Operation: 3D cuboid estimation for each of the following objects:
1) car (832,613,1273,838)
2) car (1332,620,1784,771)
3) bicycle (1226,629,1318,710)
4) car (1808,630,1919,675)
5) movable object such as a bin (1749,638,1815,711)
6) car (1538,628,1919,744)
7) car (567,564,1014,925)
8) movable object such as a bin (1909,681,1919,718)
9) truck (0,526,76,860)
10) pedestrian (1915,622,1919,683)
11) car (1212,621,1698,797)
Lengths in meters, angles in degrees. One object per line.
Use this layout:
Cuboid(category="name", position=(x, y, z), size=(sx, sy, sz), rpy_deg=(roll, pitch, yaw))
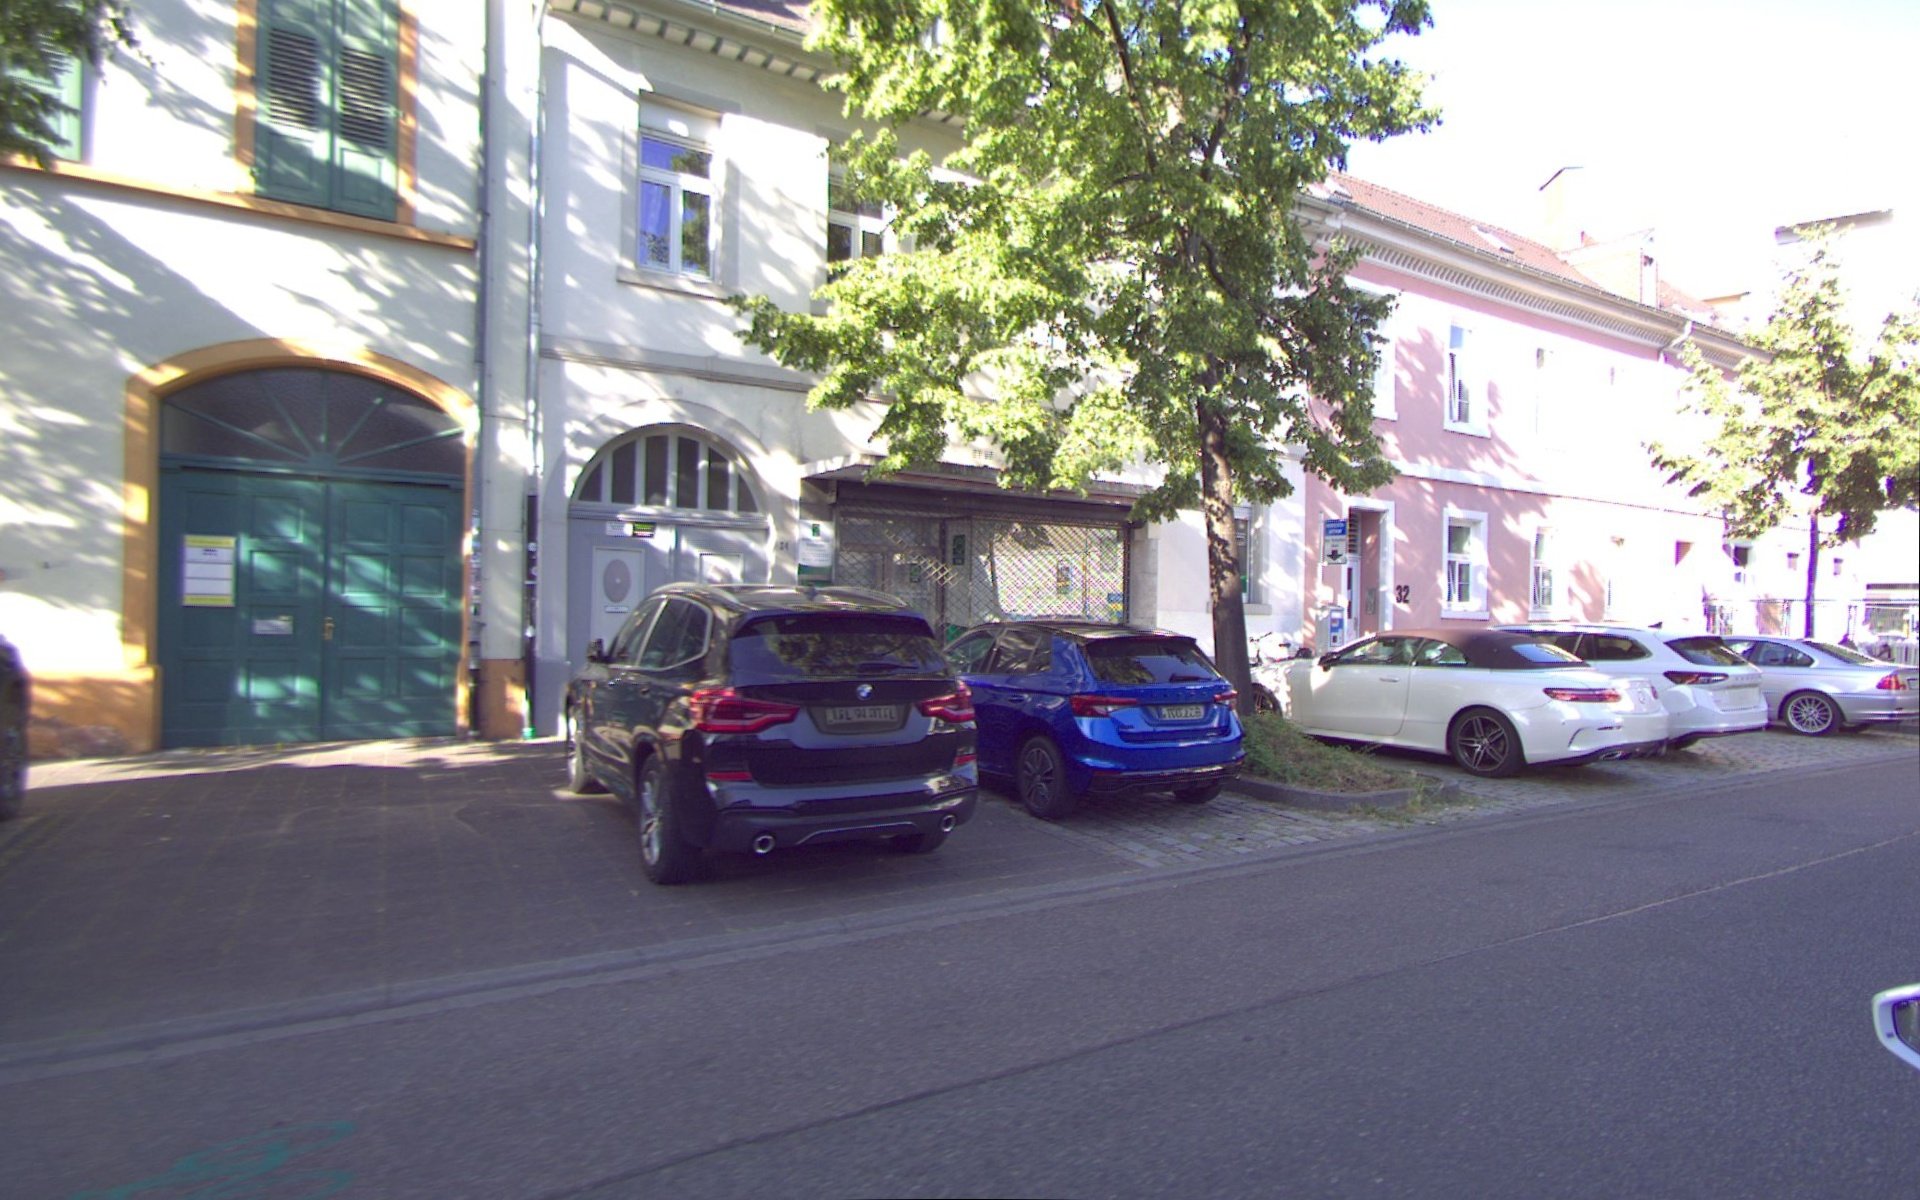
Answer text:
Cuboid(category="car", position=(0.499, 0.896, 9.275), size=(1.786, 1.482, 4.661), rpy_deg=(1, -1, -28))
Cuboid(category="car", position=(7.275, 1.040, 12.769), size=(1.788, 1.484, 4.654), rpy_deg=(1, -1, -33))
Cuboid(category="bicycle", position=(5.106, 1.117, 16.428), size=(1.610, 1.261, 0.501), rpy_deg=(1, -2, -32))
Cuboid(category="car", position=(34.317, 1.926, 37.535), size=(3.939, 1.632, 1.991), rpy_deg=(-1, -2, 39))
Cuboid(category="movable object such as a bin", position=(13.955, 1.241, 17.055), size=(0.739, 1.202, 0.725), rpy_deg=(1, -2, -39))
Cuboid(category="car", position=(11.817, 1.197, 15.586), size=(1.788, 1.431, 4.654), rpy_deg=(1, -1, -33))
Cuboid(category="car", position=(-1.586, 0.717, 7.272), size=(1.786, 1.716, 4.661), rpy_deg=(1, -1, -28))
Cuboid(category="movable object such as a bin", position=(17.070, 1.722, 17.409), size=(1.065, 0.624, 0.624), rpy_deg=(1, -2, -31))
Cuboid(category="truck", position=(-6.023, 0.511, 4.592), size=(1.977, 1.964, 5.061), rpy_deg=(1, -2, -30))
Cuboid(category="pedestrian", position=(26.815, 1.440, 27.593), size=(0.803, 1.675, 0.608), rpy_deg=(1, -1, -27))
Cuboid(category="car", position=(5.207, 1.017, 11.283), size=(1.788, 1.484, 4.654), rpy_deg=(1, -1, -33))
